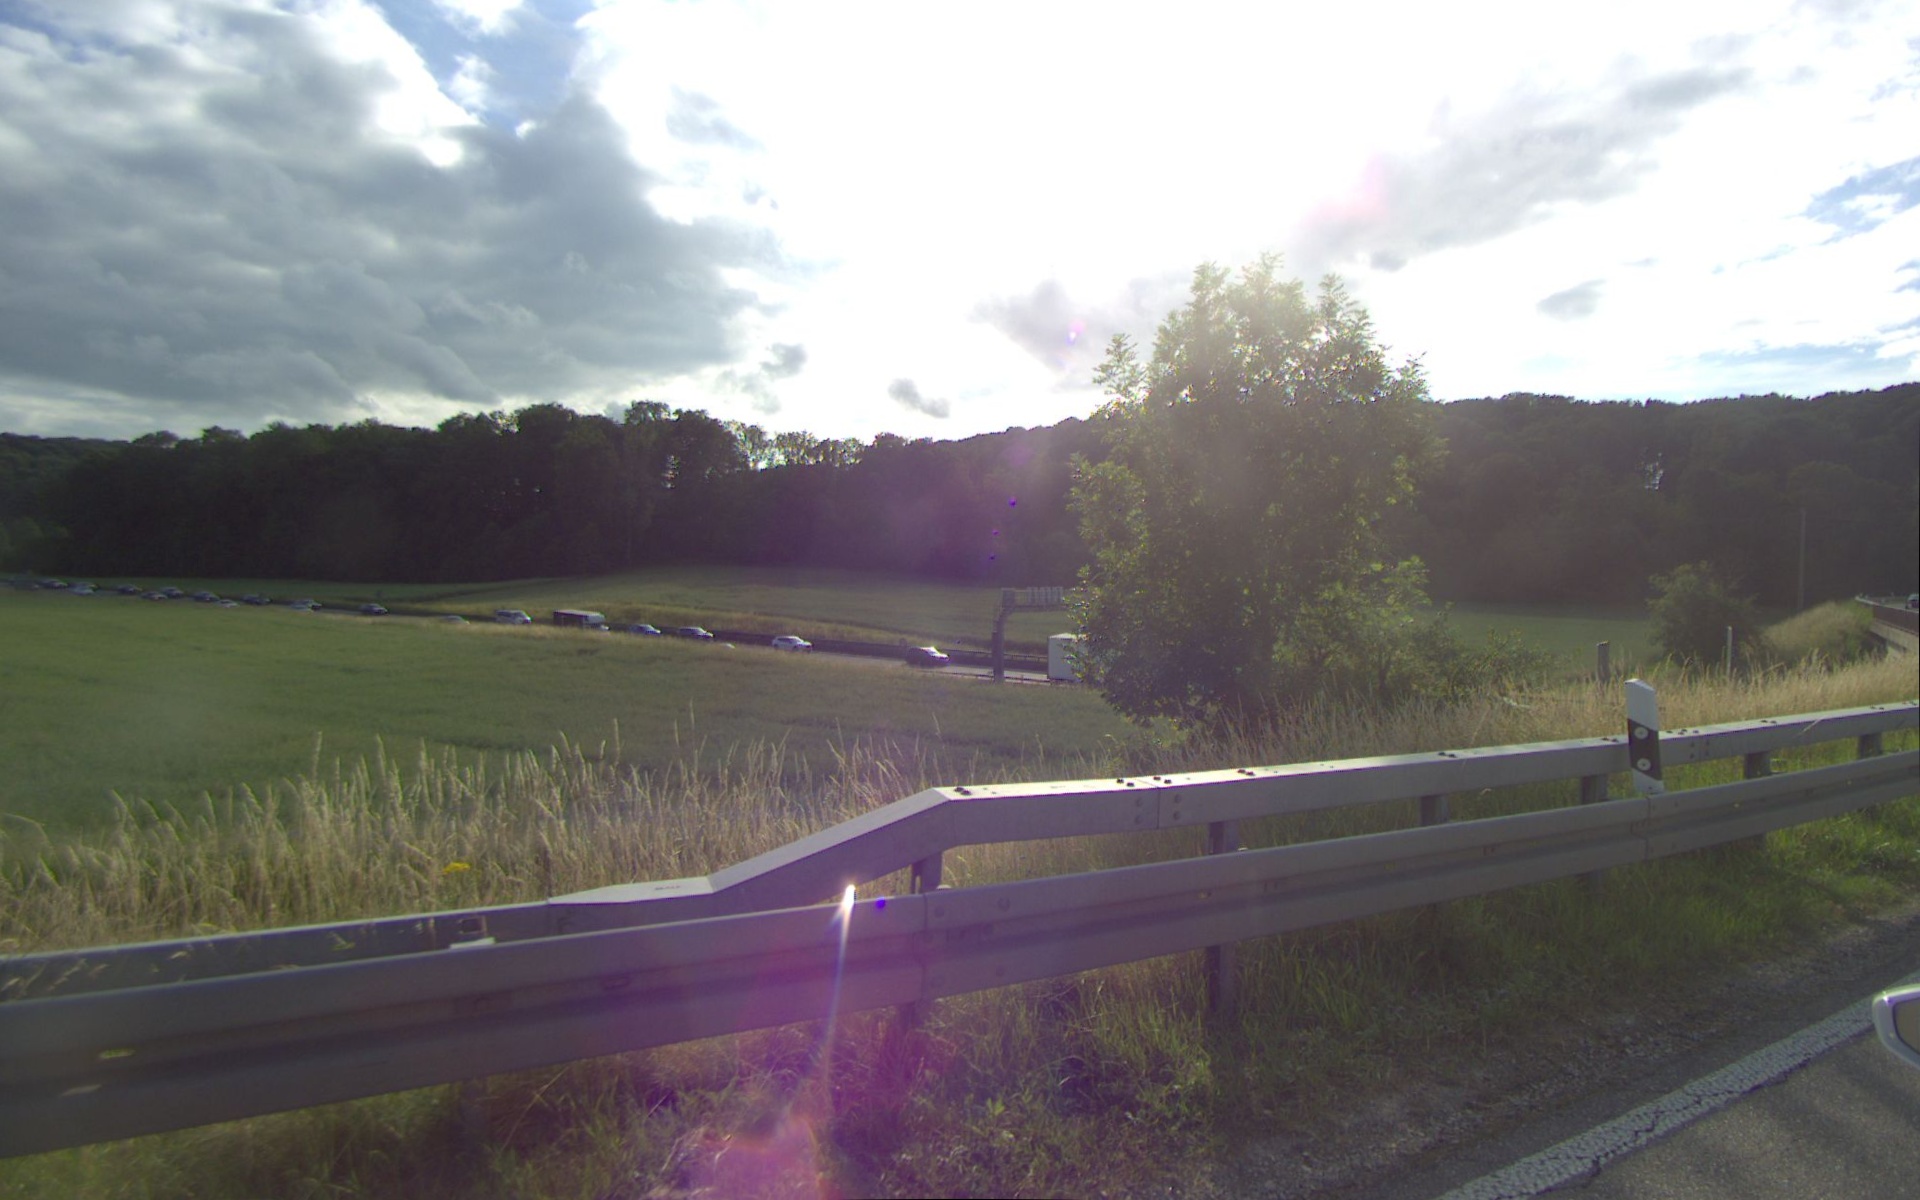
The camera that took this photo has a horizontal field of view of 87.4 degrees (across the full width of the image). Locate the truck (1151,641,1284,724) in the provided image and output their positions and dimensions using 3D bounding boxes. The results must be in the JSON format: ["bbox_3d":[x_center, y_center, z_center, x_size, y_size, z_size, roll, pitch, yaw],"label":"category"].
[{"bbox_3d":[16.702,5.218,65.511,7.931,4.529,3.016,2,4,39],"label":"truck"}]

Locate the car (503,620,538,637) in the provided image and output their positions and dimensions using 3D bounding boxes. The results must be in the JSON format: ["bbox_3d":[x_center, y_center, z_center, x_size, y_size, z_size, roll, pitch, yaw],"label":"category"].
[{"bbox_3d":[-53.498,3.442,122.358,3.932,1.750,1.995,2,-3,33],"label":"car"}]

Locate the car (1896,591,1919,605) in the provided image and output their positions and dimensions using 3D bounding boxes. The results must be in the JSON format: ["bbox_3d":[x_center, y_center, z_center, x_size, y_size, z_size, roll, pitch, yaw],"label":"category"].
[{"bbox_3d":[87.102,-0.205,92.221,3.275,1.244,1.457,-1,3,-43],"label":"car"}]

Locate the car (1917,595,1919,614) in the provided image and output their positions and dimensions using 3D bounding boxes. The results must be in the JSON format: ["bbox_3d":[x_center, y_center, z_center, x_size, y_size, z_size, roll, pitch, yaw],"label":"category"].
[{"bbox_3d":[71.560,0.350,73.334,1.659,1.394,3.988,2,2,33],"label":"car"}]

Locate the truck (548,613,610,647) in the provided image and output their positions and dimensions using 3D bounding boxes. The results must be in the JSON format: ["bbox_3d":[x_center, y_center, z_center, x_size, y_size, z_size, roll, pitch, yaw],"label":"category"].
[{"bbox_3d":[-40.635,3.198,107.036,8.362,3.450,2.115,-2,-1,37],"label":"truck"}]

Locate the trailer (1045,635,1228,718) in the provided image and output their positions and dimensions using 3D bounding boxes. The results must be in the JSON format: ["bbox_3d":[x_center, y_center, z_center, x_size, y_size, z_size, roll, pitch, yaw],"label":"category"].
[{"bbox_3d":[11.917,5.072,69.297,12.527,4.529,3.019,2,4,38],"label":"trailer"}]

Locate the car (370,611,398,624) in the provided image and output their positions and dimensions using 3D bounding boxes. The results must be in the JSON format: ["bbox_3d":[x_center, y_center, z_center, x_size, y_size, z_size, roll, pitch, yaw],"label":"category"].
[{"bbox_3d":[-79.581,2.389,138.814,3.932,1.608,1.798,3,1,33],"label":"car"}]

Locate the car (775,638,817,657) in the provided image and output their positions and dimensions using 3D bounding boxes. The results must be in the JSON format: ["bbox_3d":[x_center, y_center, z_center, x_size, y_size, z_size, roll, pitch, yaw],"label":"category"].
[{"bbox_3d":[-15.787,4.566,96.708,3.935,1.672,1.822,-1,0,36],"label":"car"}]
